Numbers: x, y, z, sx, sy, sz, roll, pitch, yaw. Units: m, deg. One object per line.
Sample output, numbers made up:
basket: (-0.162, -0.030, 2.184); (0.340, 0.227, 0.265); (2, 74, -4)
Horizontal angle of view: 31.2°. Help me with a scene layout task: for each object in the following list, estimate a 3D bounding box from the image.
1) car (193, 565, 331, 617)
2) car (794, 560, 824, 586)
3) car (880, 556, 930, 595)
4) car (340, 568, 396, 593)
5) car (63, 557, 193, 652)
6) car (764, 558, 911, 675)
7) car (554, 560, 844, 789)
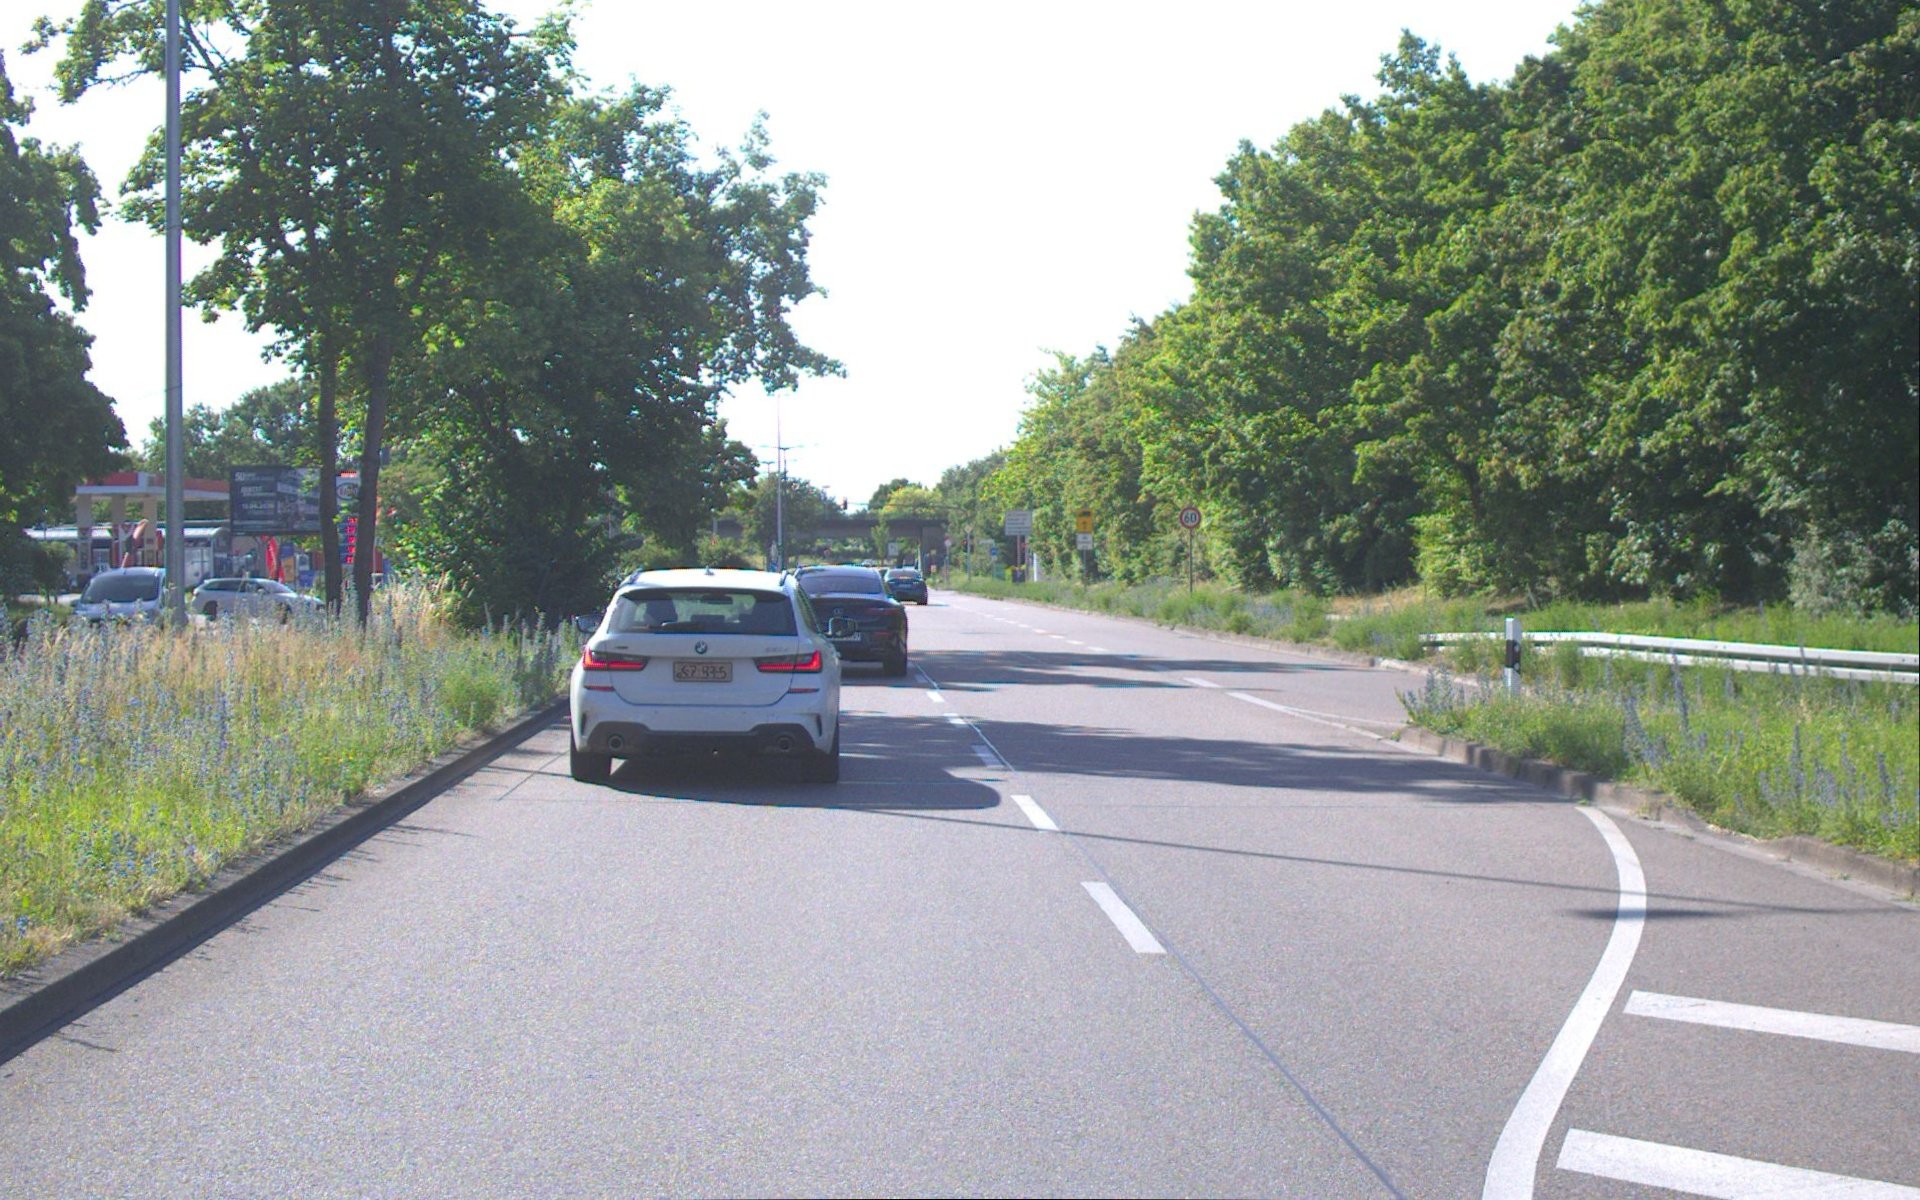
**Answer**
car: (-23.273, -0.303, 114.586); (4.114, 1.656, 1.891); (-1, 1, 21)
car: (-9.272, -1.680, 211.041); (1.861, 1.560, 4.548); (0, 1, -3)
car: (-2.206, -0.982, 137.227); (1.861, 1.494, 4.337); (0, 0, -3)
car: (-43.047, -1.421, 249.967); (4.084, 1.777, 1.922); (0, 1, 44)
car: (-15.832, 0.059, 65.581); (1.706, 1.740, 4.166); (0, 1, -3)
car: (-1.676, 0.184, 46.482); (1.861, 1.450, 4.548); (-1, 1, -3)
car: (-1.769, 0.459, 24.550); (1.861, 1.450, 4.548); (1, 1, -2)
